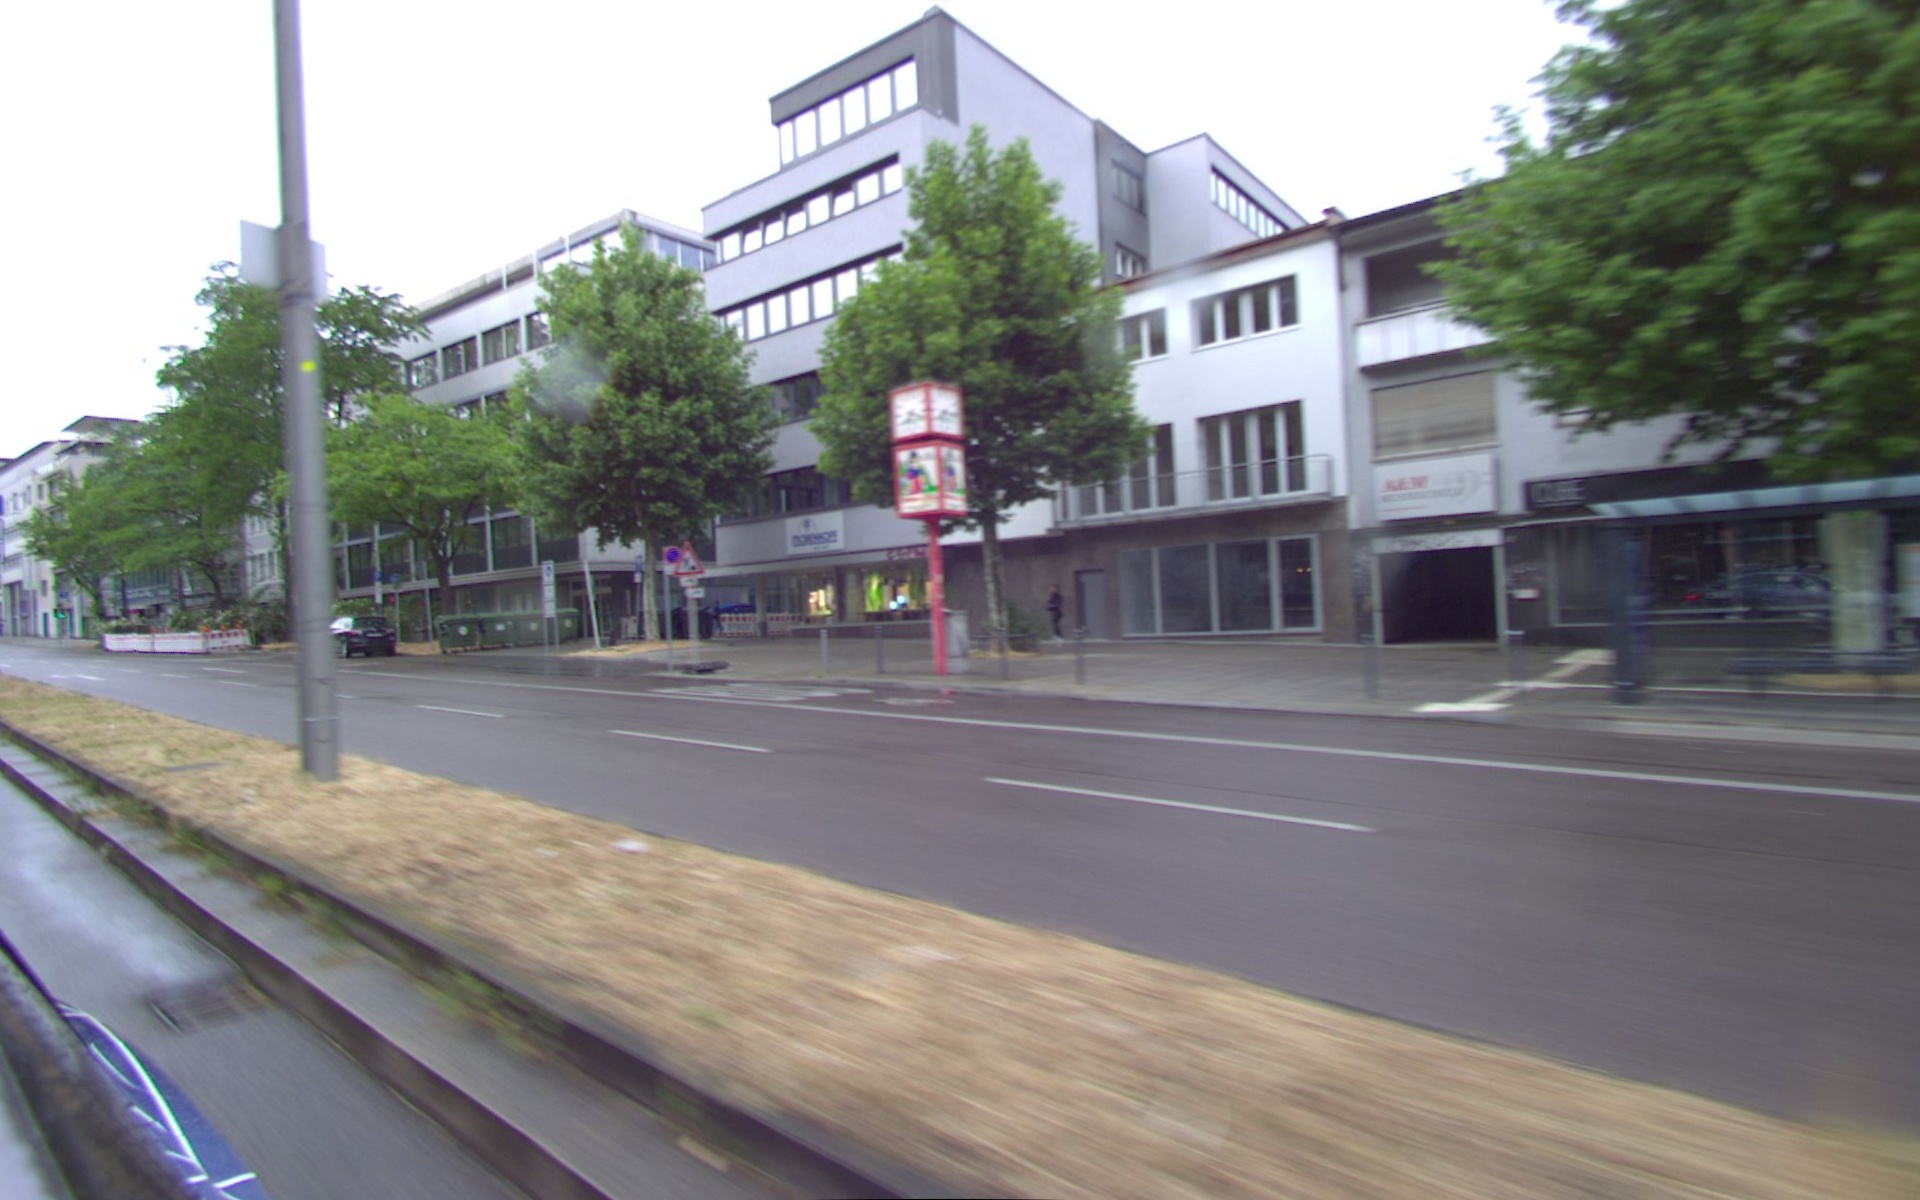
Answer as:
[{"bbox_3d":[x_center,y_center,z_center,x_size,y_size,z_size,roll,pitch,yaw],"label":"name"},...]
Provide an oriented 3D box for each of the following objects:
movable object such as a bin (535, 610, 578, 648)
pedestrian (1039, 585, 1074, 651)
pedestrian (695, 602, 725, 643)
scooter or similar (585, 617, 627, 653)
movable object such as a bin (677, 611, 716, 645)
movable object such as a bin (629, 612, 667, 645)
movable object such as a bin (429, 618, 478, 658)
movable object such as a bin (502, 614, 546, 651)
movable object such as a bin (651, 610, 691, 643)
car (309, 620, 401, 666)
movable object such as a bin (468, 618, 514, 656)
[{"bbox_3d":[-16.520,1.201,41.479,1.088,1.499,1.265,-2,-1,41],"label":"movable object such as a bin"},{"bbox_3d":[2.623,0.489,27.554,0.653,1.776,0.688,-2,-1,43],"label":"pedestrian"},{"bbox_3d":[-10.566,0.956,42.837,0.889,1.701,0.866,-2,-1,19],"label":"pedestrian"},{"bbox_3d":[-12.291,1.218,35.107,1.323,1.130,0.767,-6,-1,43],"label":"scooter or similar"},{"bbox_3d":[-11.551,1.232,44.409,1.278,1.446,1.077,-2,-1,32],"label":"movable object such as a bin"},{"bbox_3d":[-14.133,1.274,45.871,1.278,1.446,1.077,-2,-1,32],"label":"movable object such as a bin"},{"bbox_3d":[-19.173,1.426,38.303,1.088,1.437,1.345,-2,-1,41],"label":"movable object such as a bin"},{"bbox_3d":[-17.415,1.284,40.430,1.088,1.437,1.265,-2,-1,41],"label":"movable object such as a bin"},{"bbox_3d":[-12.852,1.181,45.009,1.278,1.446,1.077,-2,-1,32],"label":"movable object such as a bin"},{"bbox_3d":[-23.256,1.616,38.855,4.019,1.648,1.761,-1,0,39],"label":"car"},{"bbox_3d":[-18.255,1.437,39.390,1.088,1.437,1.265,-2,-1,41],"label":"movable object such as a bin"}]
